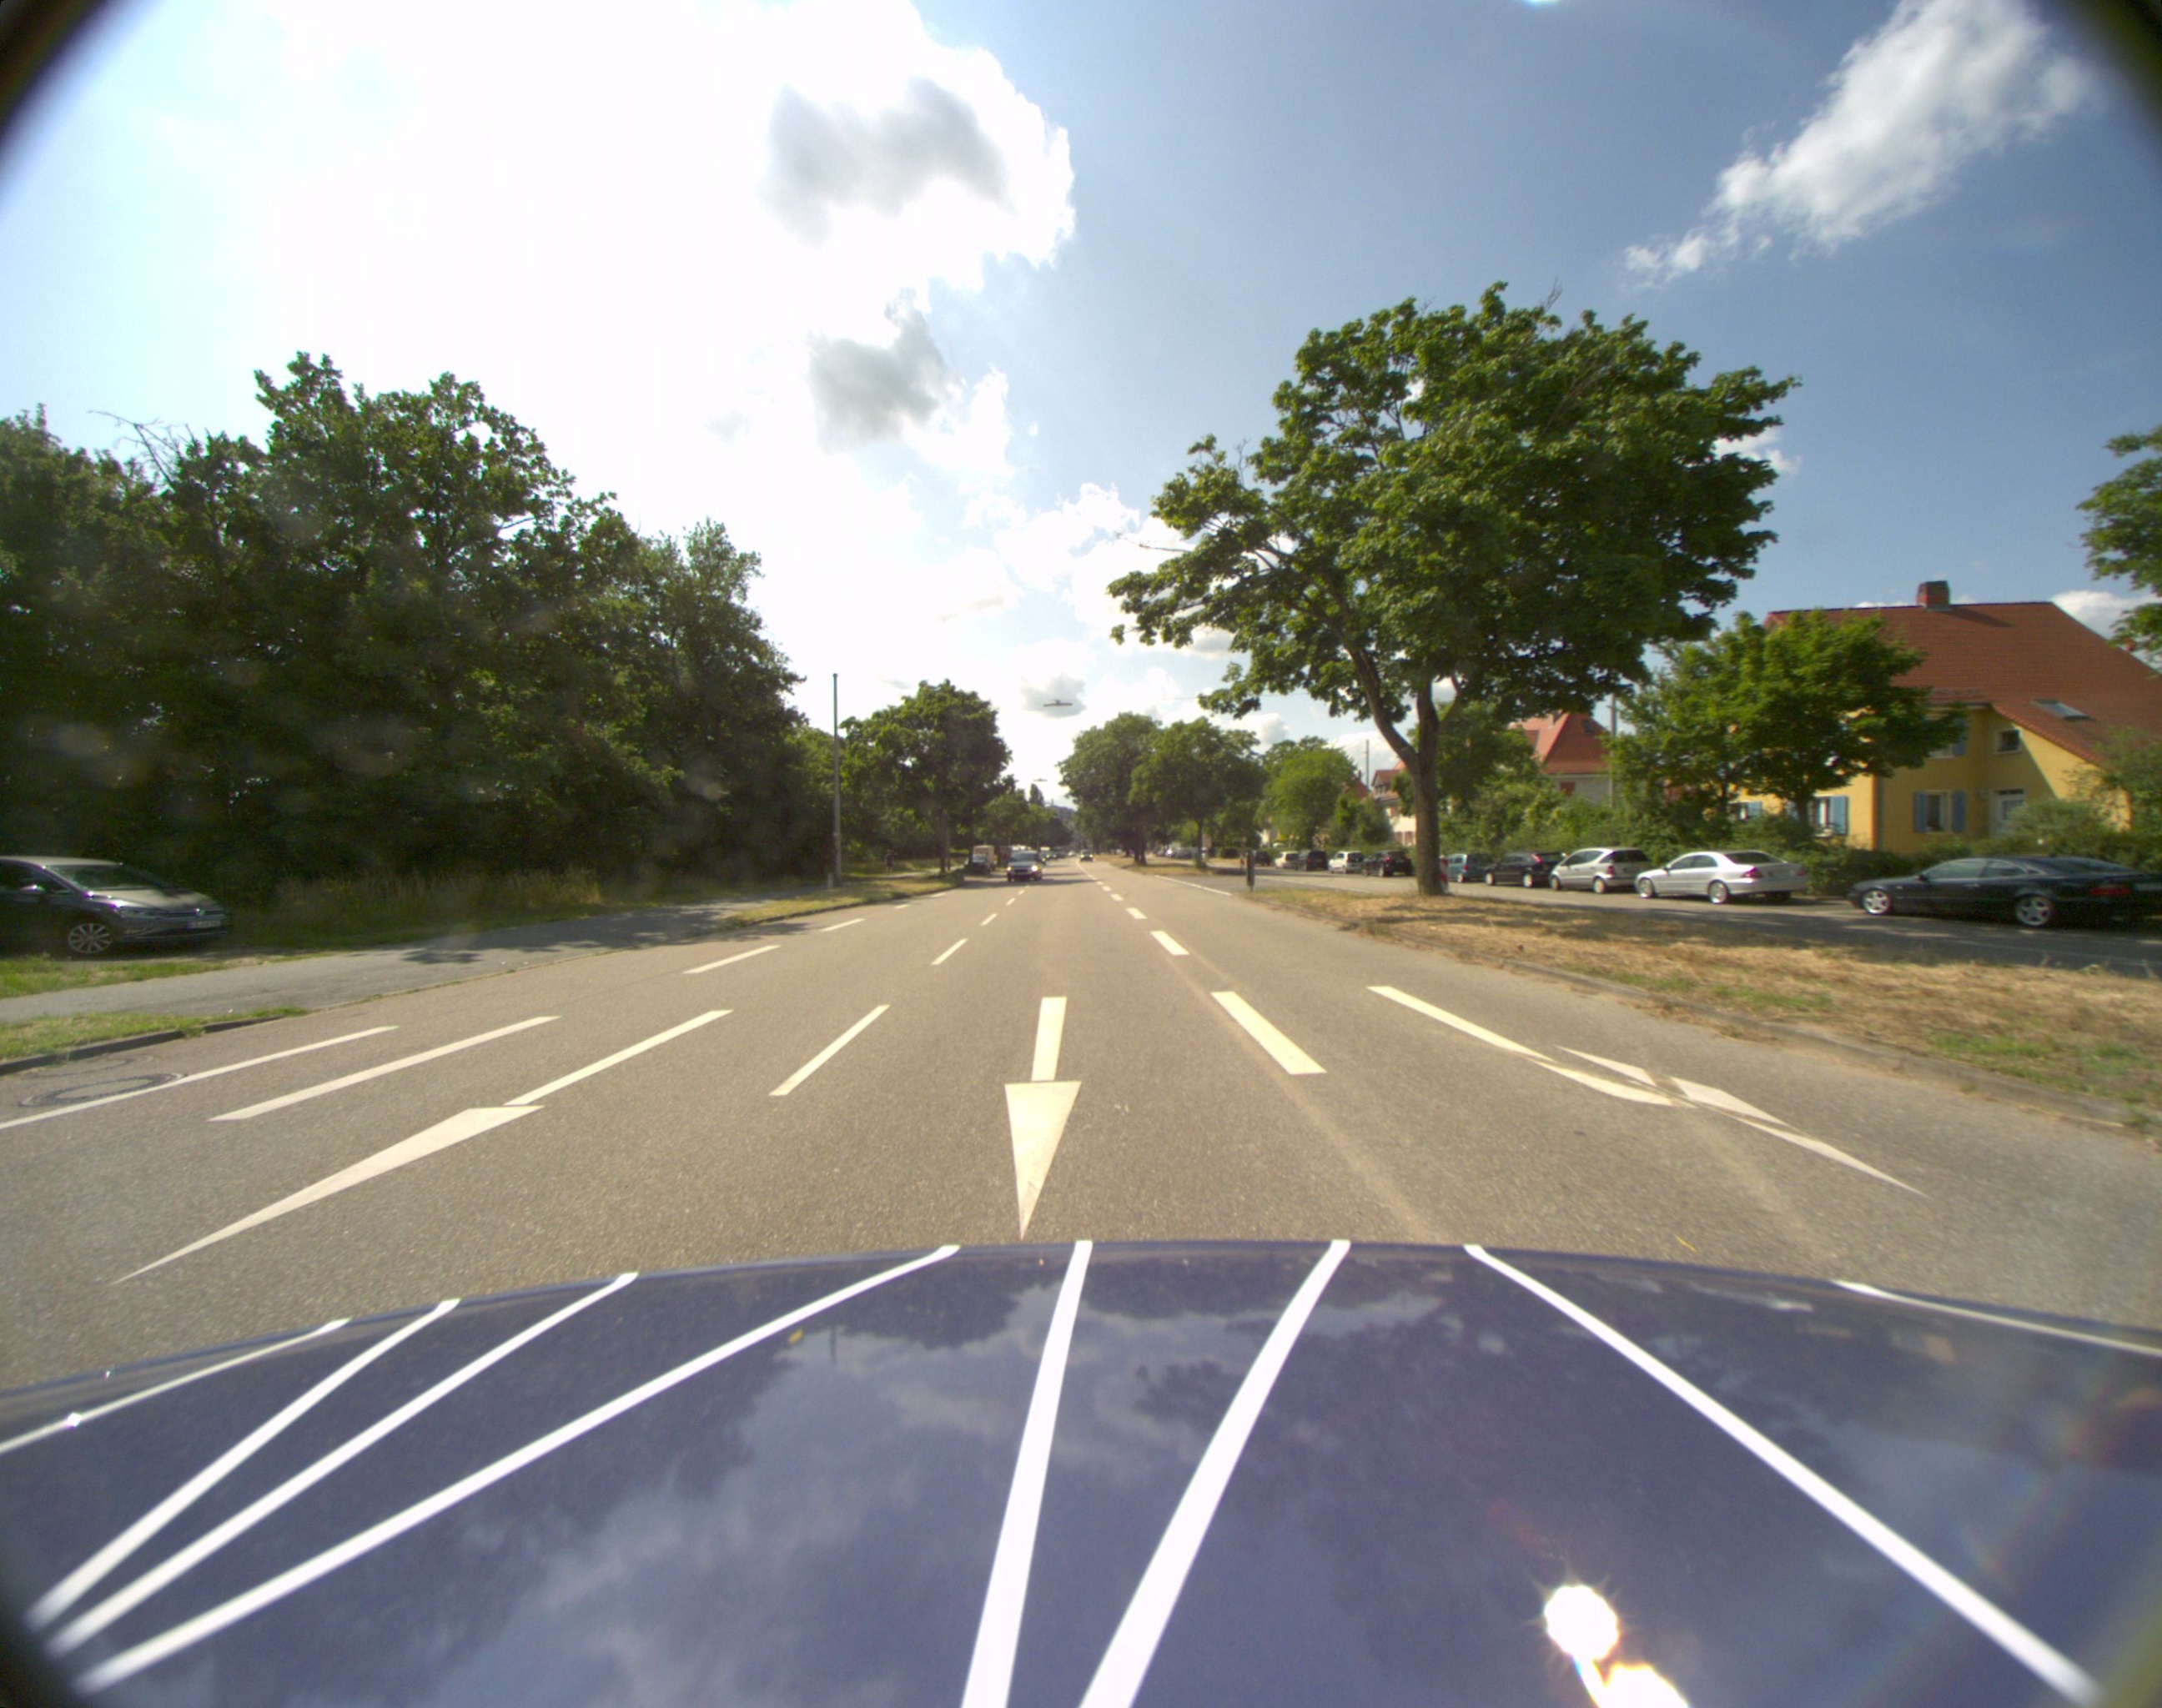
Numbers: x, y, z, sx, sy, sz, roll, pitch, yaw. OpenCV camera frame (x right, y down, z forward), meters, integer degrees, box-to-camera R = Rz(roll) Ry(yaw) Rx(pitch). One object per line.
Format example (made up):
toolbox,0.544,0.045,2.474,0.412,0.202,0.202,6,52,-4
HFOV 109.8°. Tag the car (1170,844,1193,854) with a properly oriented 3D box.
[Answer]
car,18.824,-0.962,142.760,3.997,1.502,1.799,-3,1,0

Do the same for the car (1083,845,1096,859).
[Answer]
car,1.280,-0.374,112.197,1.768,1.893,4.540,-3,1,1

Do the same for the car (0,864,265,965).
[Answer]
car,-16.811,0.954,12.698,4.175,1.484,1.784,2,-1,-4

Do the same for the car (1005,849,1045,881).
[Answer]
car,-3.351,0.616,45.976,1.935,1.775,4.715,-3,0,1

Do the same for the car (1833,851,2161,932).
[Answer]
car,18.173,0.626,15.256,1.640,1.299,4.584,-3,0,1

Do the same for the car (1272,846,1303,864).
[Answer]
car,17.933,0.047,66.138,1.598,1.453,3.534,-3,1,-1

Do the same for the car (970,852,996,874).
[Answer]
car,-8.143,0.703,63.335,1.595,1.681,4.360,0,1,0

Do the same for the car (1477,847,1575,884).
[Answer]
car,18.239,0.422,31.366,1.406,1.387,4.356,-3,1,0

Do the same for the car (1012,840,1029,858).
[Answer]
car,-9.526,-0.828,119.499,2.262,2.787,6.765,1,1,-1

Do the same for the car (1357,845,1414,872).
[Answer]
car,18.057,0.240,45.260,1.665,1.473,4.102,-3,0,-1

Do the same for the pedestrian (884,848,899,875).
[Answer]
pedestrian,-13.009,0.484,52.118,0.719,1.784,0.739,-3,2,-1

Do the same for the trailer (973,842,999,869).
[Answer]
trailer,-8.667,0.120,69.707,1.958,2.338,4.604,0,1,-2

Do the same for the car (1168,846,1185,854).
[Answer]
car,20.826,-0.888,165.369,1.668,1.456,3.827,-2,2,41

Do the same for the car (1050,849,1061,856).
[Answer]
car,-4.723,-0.304,141.891,1.892,1.281,3.998,-3,1,-1

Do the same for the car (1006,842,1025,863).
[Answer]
car,-9.120,-0.235,106.223,2.181,2.680,6.149,-3,1,-1

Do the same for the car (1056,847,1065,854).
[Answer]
car,-4.361,-0.781,163.054,1.892,1.281,3.998,-3,1,-1

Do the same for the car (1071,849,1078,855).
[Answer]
car,-1.644,-0.457,204.512,1.798,1.501,4.000,-1,0,1

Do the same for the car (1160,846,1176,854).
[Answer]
car,19.240,-0.877,167.899,1.668,1.456,3.827,-2,2,41

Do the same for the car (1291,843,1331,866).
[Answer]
car,18.037,-0.001,59.697,1.665,1.603,4.313,-3,1,-1

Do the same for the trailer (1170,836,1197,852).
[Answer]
trailer,20.949,-2.088,154.777,2.820,3.090,5.764,-3,1,38

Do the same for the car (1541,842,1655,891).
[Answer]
car,18.168,0.394,26.908,1.406,1.548,3.741,-3,1,0

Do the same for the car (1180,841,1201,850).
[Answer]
car,19.563,-1.559,135.392,4.007,1.390,1.569,-4,2,-43

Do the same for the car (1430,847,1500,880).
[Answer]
car,18.387,0.406,36.521,1.566,1.387,3.476,-3,1,0

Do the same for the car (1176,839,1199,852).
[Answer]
car,19.348,-1.559,137.804,4.007,2.002,1.800,-4,2,-43

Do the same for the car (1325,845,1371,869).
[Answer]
car,18.308,0.161,52.220,1.665,1.443,3.845,-3,1,-1

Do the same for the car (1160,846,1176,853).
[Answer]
car,19.865,-1.122,174.182,1.668,1.341,3.827,-2,2,41

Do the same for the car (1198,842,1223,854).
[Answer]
car,20.425,-0.929,119.503,4.008,1.849,1.800,-2,1,-43

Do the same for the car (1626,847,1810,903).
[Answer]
car,18.033,0.526,21.830,1.514,1.362,4.531,-3,0,1

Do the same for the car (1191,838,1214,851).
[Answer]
car,20.637,-1.565,128.951,4.007,2.002,1.800,-4,2,-43

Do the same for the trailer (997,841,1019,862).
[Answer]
trailer,-8.678,-0.294,90.525,1.999,2.352,4.780,3,1,-1

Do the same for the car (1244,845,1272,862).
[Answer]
car,17.810,-0.105,76.712,1.772,1.543,3.998,-3,1,-1
